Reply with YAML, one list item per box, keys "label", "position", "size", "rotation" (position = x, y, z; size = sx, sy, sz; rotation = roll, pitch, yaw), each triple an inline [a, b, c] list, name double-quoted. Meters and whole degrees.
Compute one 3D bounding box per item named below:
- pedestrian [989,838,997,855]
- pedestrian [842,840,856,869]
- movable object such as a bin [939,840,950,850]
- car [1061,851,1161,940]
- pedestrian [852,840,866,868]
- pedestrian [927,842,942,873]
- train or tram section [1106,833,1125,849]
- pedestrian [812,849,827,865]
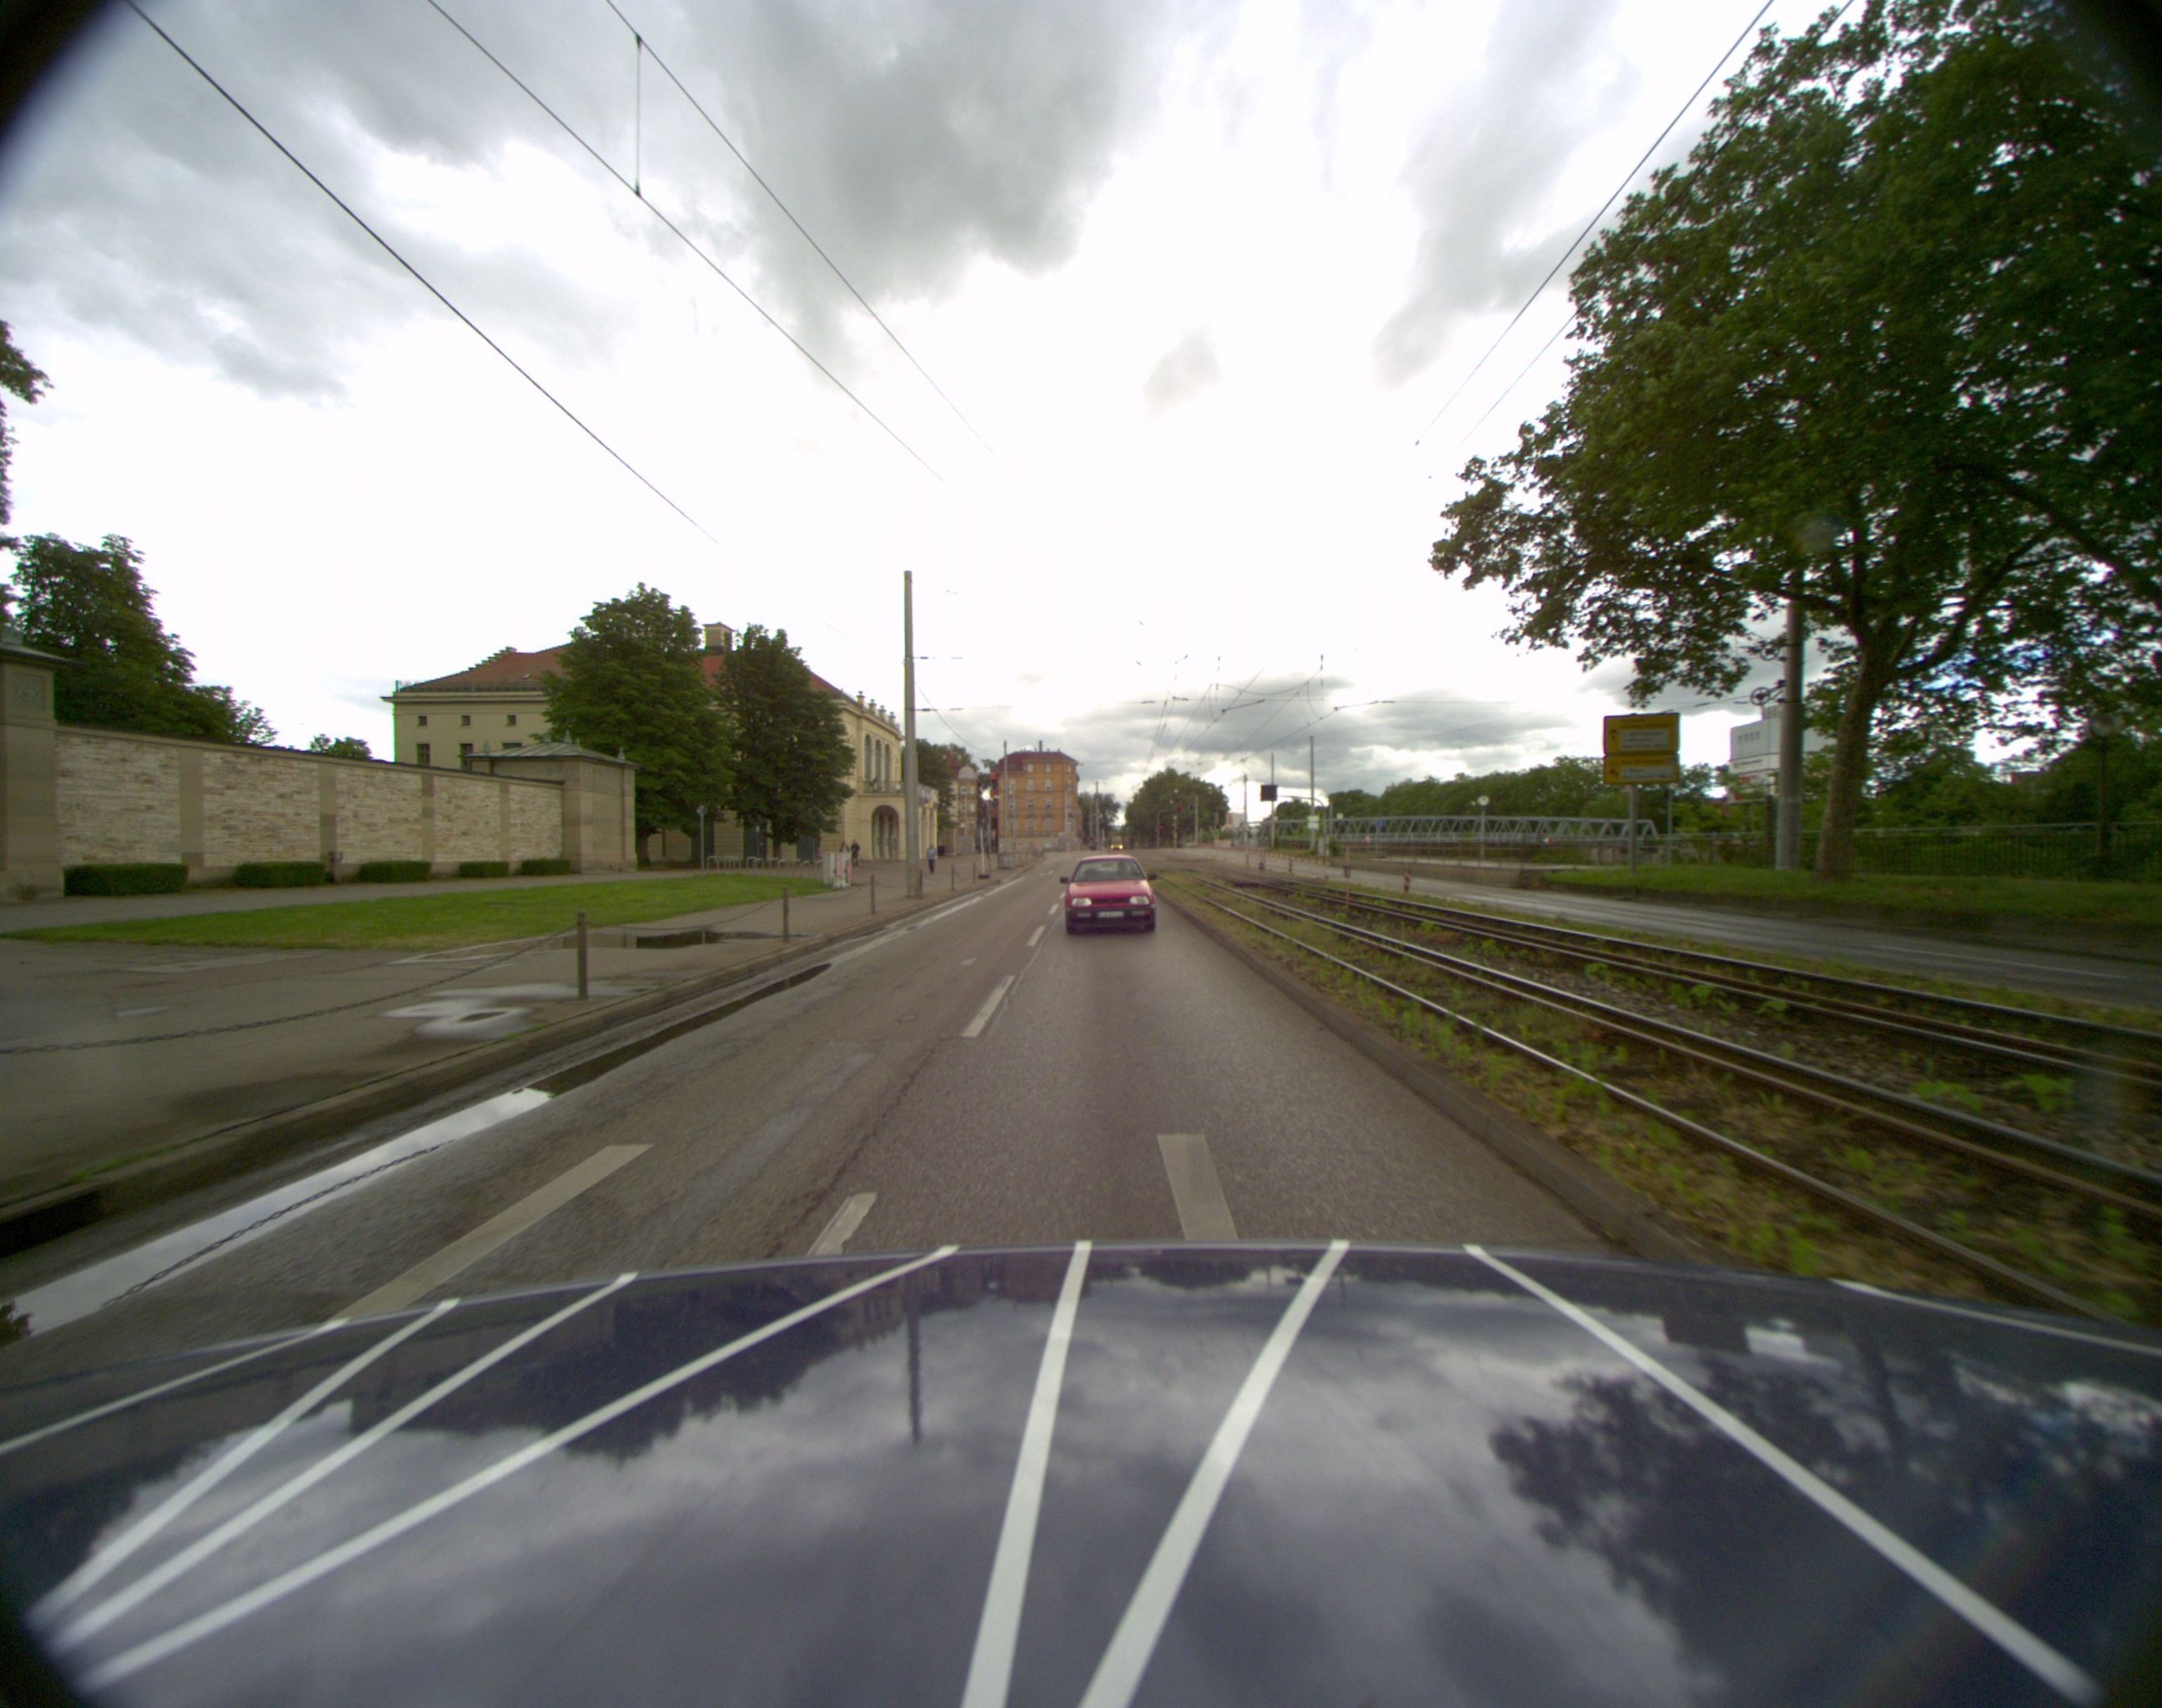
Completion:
- label: "pedestrian"
  position: [-9.164, -0.768, 79.003]
  size: [0.672, 1.758, 0.936]
  rotation: [0, 2, 1]
- label: "pedestrian"
  position: [-14.302, 0.020, 46.795]
  size: [0.596, 1.782, 0.808]
  rotation: [0, 2, 1]
- label: "movable object such as a bin"
  position: [-18.647, -1.201, 103.895]
  size: [1.297, 1.361, 1.379]
  rotation: [0, 2, 1]
- label: "car"
  position: [0.548, 0.721, 15.304]
  size: [1.681, 1.434, 4.119]
  rotation: [-2, 1, 1]
- label: "pedestrian"
  position: [-13.678, -0.023, 46.761]
  size: [0.598, 1.689, 0.790]
  rotation: [0, 2, 1]
- label: "pedestrian"
  position: [-8.408, 0.180, 43.711]
  size: [0.672, 1.758, 0.936]
  rotation: [0, 2, 1]
- label: "train or tram section"
  position: [7.731, -3.076, 172.831]
  size: [3.739, 3.347, 17.549]
  rotation: [1, 2, 0]
- label: "pedestrian"
  position: [-16.316, 0.187, 47.398]
  size: [0.760, 0.995, 0.595]
  rotation: [-1, 2, -33]
